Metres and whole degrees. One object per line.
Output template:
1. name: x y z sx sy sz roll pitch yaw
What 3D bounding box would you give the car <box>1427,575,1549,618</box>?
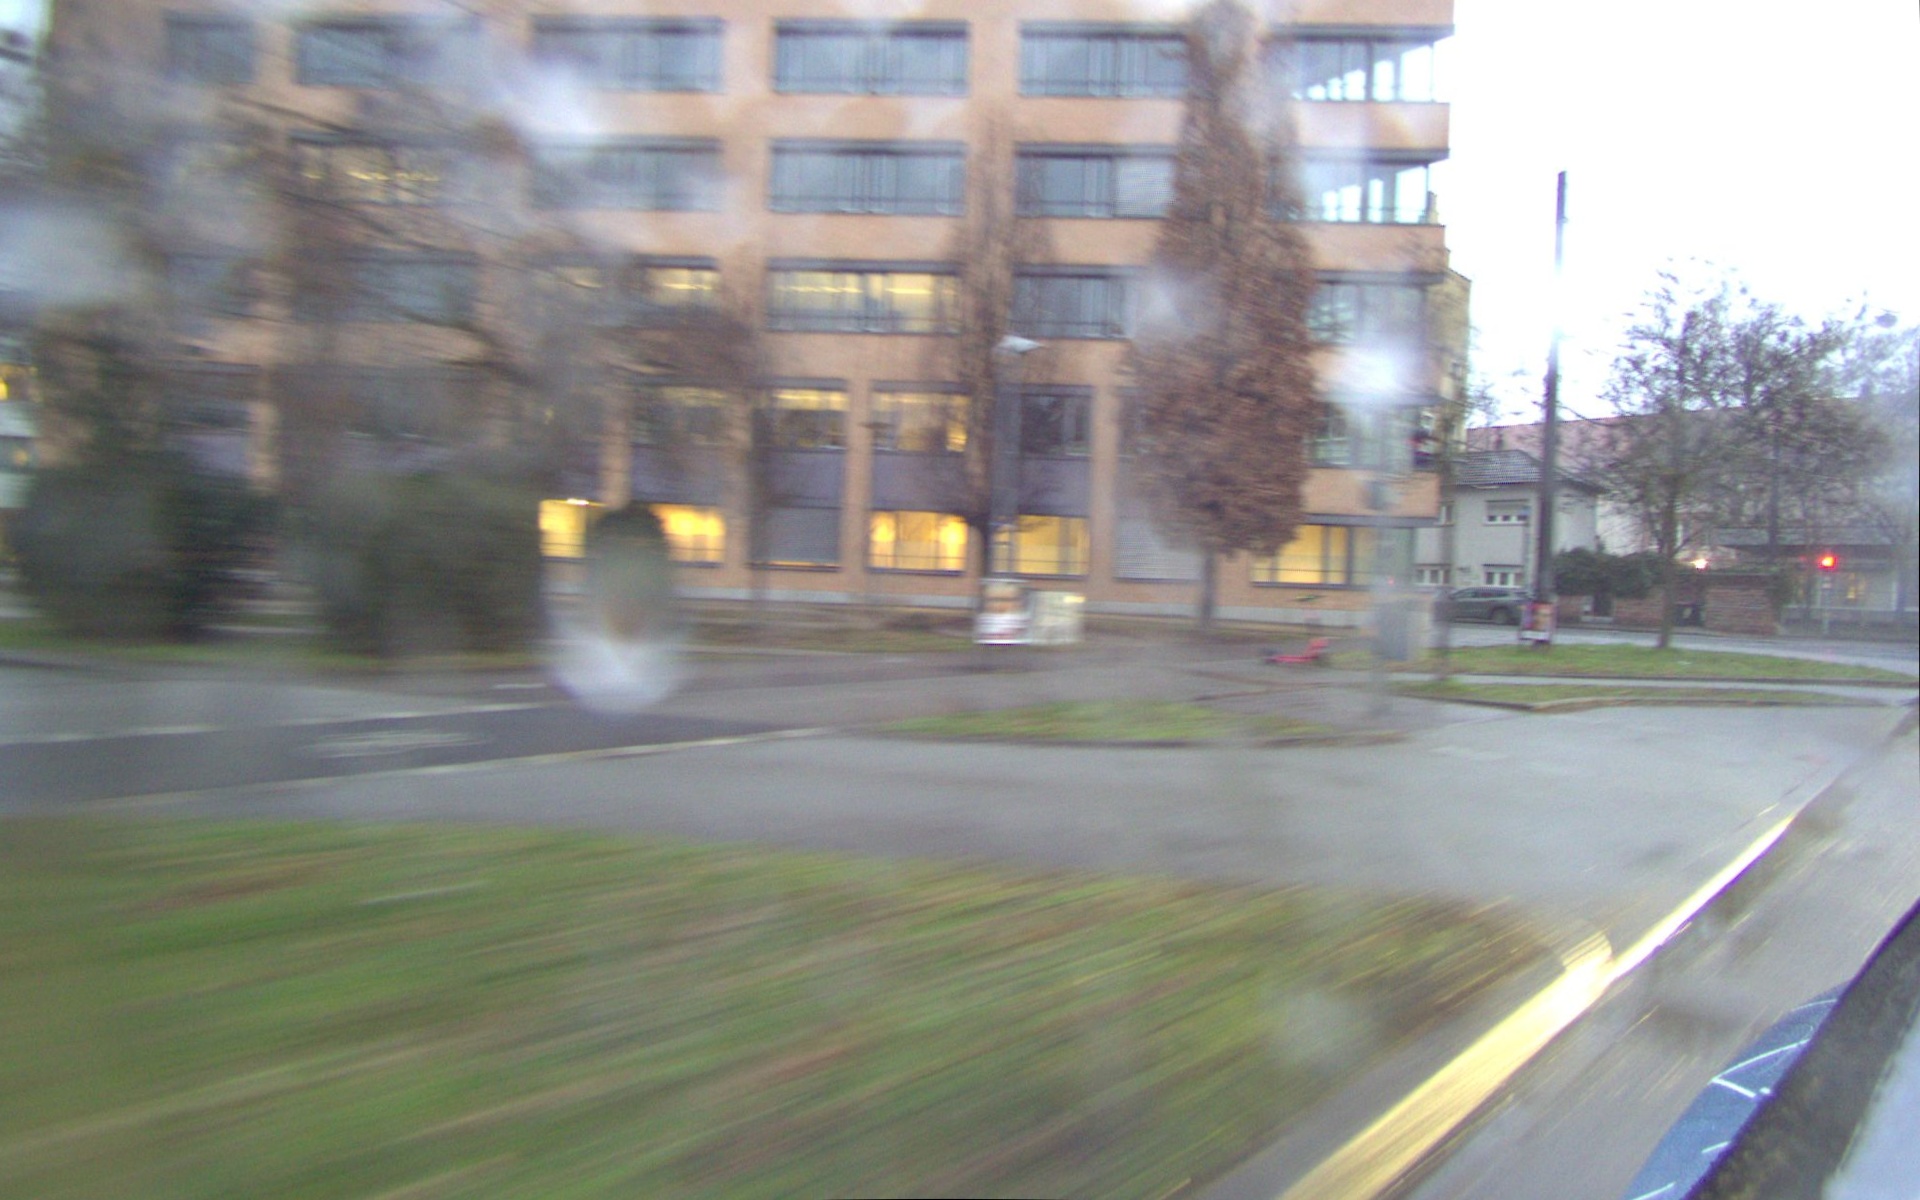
1. car: 23.814 -0.176 45.744 4.500 1.690 1.968 4 2 44

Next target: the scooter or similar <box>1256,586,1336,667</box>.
1. scooter or similar: 5.530 0.418 16.674 1.137 1.247 0.482 3 1 32
